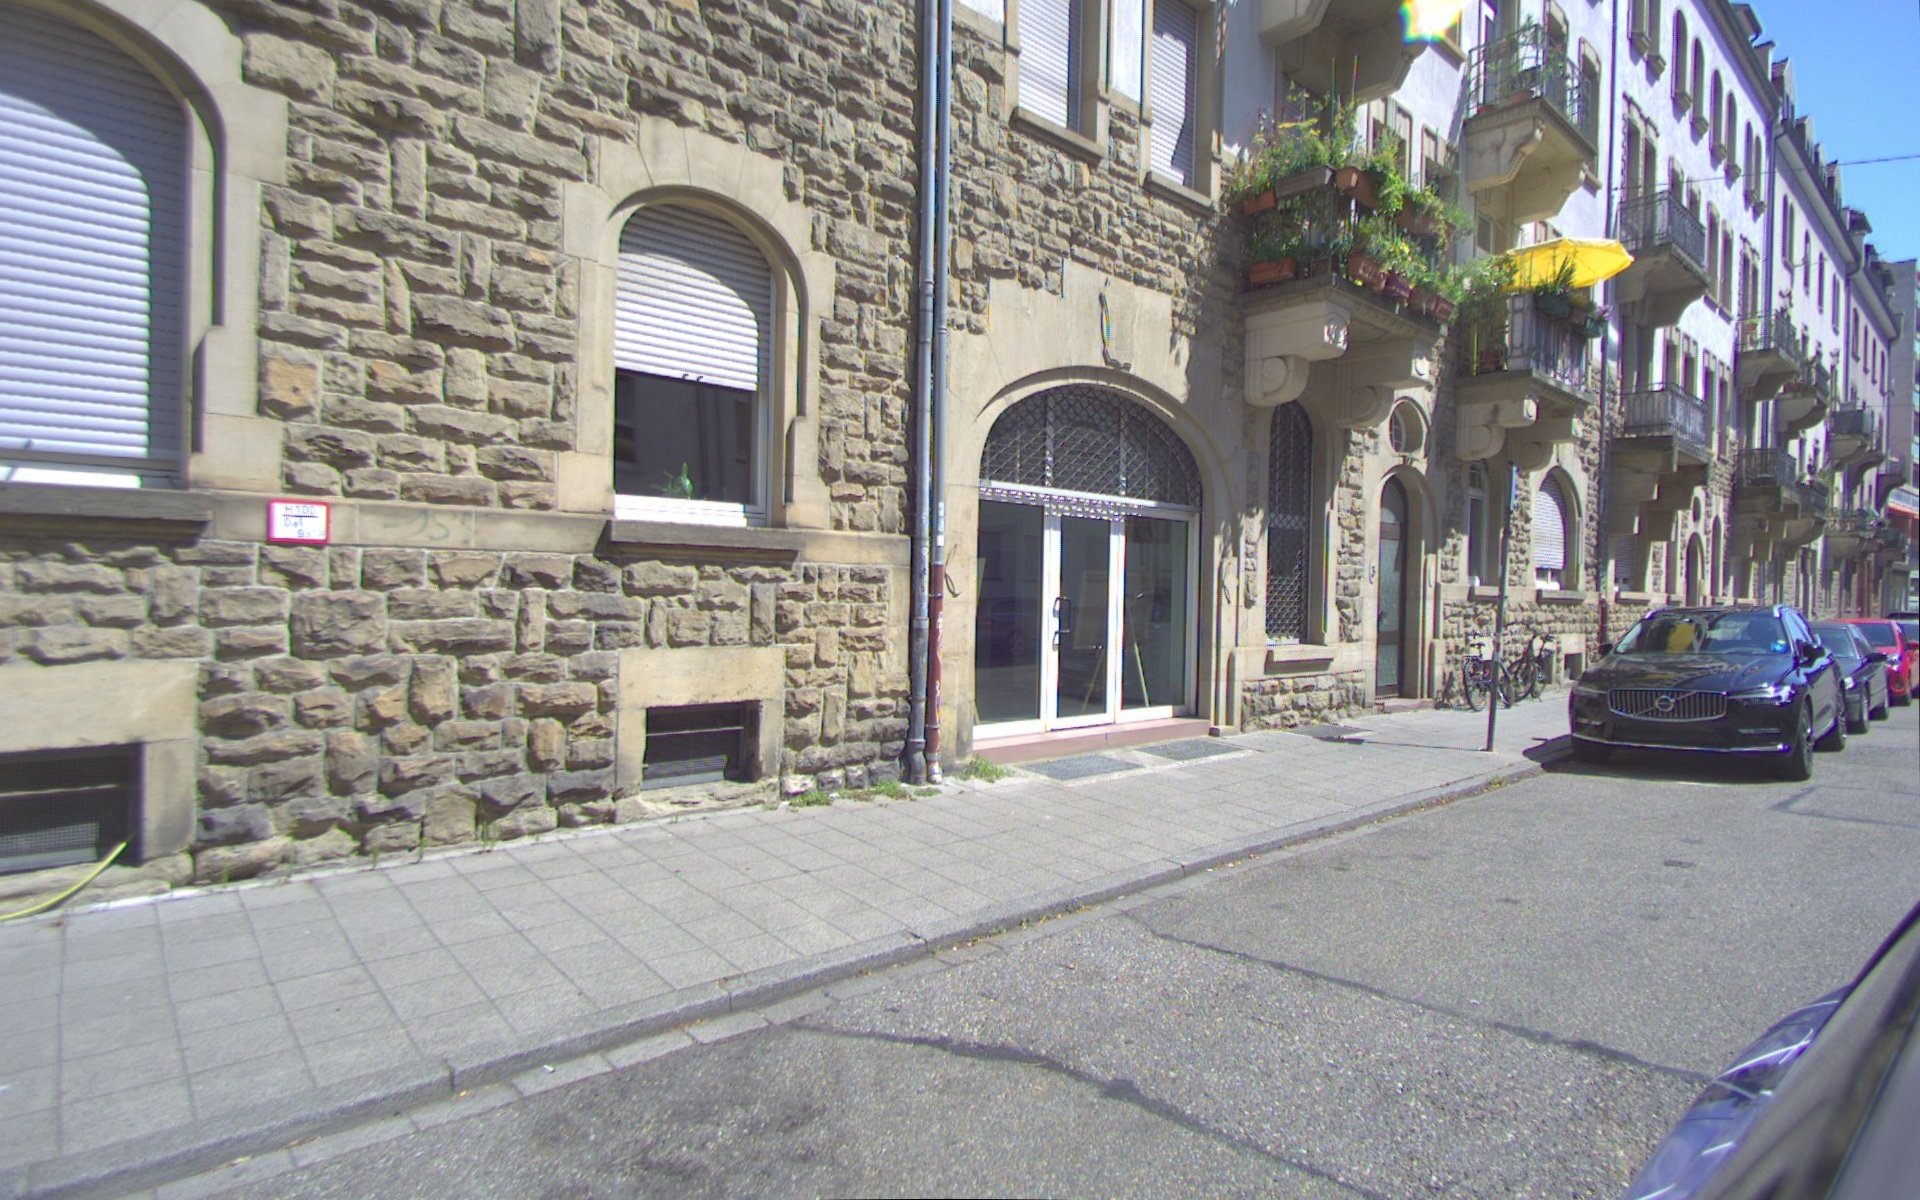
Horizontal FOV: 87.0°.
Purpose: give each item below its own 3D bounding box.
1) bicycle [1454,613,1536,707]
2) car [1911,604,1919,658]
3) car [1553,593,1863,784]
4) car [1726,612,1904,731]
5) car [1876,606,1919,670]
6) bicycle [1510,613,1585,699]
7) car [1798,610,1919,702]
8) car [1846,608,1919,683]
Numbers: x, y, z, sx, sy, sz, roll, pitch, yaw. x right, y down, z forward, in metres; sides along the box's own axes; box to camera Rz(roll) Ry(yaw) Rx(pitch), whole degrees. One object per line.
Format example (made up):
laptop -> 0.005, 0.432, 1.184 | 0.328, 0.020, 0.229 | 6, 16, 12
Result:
bicycle -> 7.512, 0.809, 14.180 | 1.744, 1.223, 0.385 | 0, 2, -41
car -> 28.492, 0.874, 28.751 | 4.588, 1.476, 1.740 | 0, 2, -42
car -> 8.000, 0.736, 10.643 | 4.528, 1.587, 1.834 | 0, -1, -43
car -> 12.108, 0.891, 14.243 | 3.906, 1.416, 1.513 | 0, -1, -44
car -> 24.393, 0.905, 25.167 | 4.514, 1.471, 1.720 | 0, -1, -39
bicycle -> 9.162, 0.841, 15.753 | 1.744, 1.223, 0.442 | 0, 2, -41
car -> 16.600, 0.932, 18.390 | 3.776, 1.471, 1.572 | 0, -1, -42
car -> 20.486, 0.924, 21.817 | 3.789, 1.471, 1.592 | 0, -1, -41
